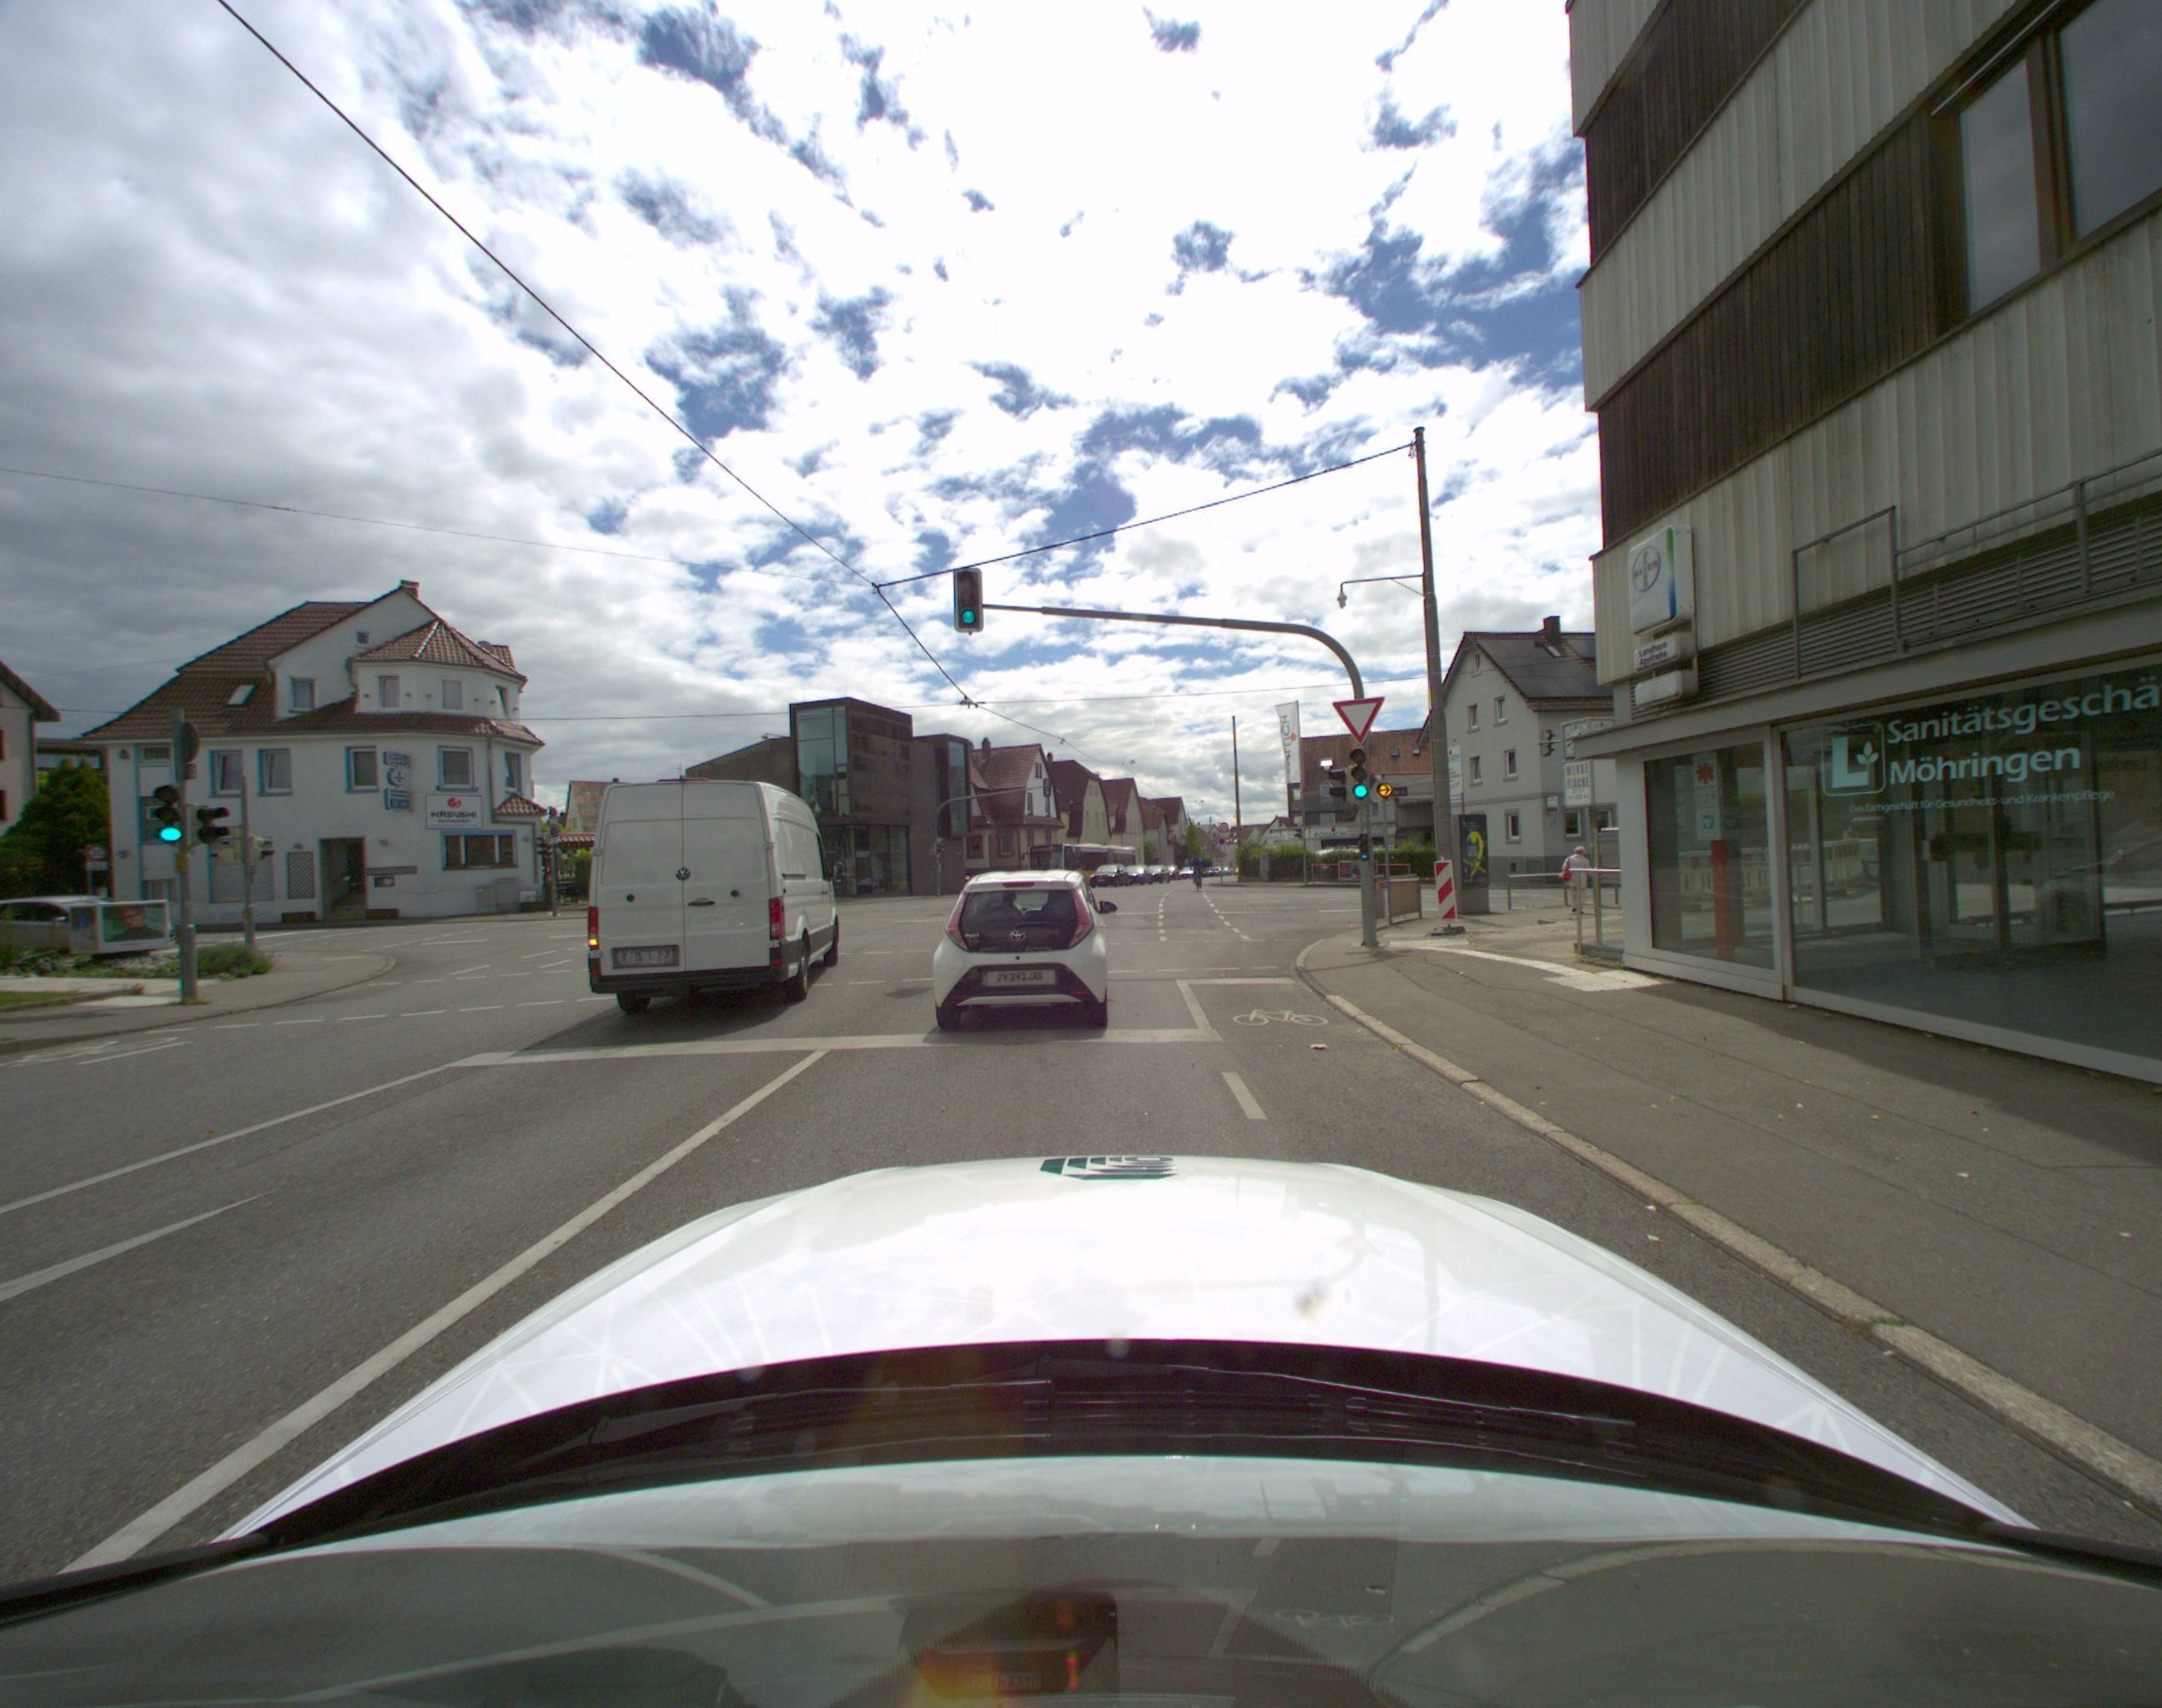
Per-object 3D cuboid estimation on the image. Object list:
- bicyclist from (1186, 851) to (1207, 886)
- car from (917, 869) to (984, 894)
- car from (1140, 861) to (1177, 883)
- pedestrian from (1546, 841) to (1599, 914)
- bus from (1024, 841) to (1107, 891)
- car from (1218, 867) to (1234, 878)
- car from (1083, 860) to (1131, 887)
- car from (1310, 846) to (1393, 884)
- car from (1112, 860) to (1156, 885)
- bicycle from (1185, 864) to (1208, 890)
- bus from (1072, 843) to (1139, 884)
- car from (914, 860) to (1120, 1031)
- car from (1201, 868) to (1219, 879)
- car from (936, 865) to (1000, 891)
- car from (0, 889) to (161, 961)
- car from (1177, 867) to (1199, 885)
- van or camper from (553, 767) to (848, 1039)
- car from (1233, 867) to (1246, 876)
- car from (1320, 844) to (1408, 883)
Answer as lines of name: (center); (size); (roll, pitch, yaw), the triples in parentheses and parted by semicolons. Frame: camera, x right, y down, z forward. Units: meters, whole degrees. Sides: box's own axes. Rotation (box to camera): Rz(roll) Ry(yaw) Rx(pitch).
bicyclist: (5.401, 0.665, 38.276); (0.837, 1.614, 1.084); (-2, 0, 2)
car: (-8.811, 1.829, 54.954); (3.957, 1.640, 2.008); (-1, -1, 15)
car: (6.162, 1.376, 64.643); (1.977, 1.640, 4.019); (-1, -1, 19)
pedestrian: (11.439, 0.554, 18.978); (0.827, 1.638, 0.878); (-2, -2, 18)
bus: (-0.829, 0.749, 55.394); (2.756, 3.060, 9.233); (-1, -1, 18)
car: (24.539, 3.137, 137.952); (1.977, 1.640, 4.019); (-1, -1, 19)
car: (1.716, 1.222, 52.572); (1.977, 1.640, 4.019); (-1, -1, 19)
car: (15.358, 0.596, 46.343); (3.982, 2.014, 1.995); (-1, -1, -7)
car: (3.791, 1.303, 57.675); (1.977, 1.640, 4.204); (-1, -1, 19)
bicycle: (5.407, 1.056, 38.182); (0.828, 1.164, 2.193); (-2, 0, 3)
bus: (2.087, 0.703, 64.343); (2.756, 2.915, 9.233); (-1, -1, 18)
car: (-0.489, 0.829, 8.989); (1.731, 1.460, 3.536); (-2, 0, 4)
car: (19.646, 2.935, 123.523); (1.977, 1.640, 4.019); (-1, -1, 19)
car: (-7.968, 1.721, 57.755); (3.957, 1.684, 2.008); (-2, -1, 15)
car: (-27.415, 1.849, 21.378); (3.981, 1.684, 1.996); (-2, -1, -5)
car: (12.591, 2.526, 95.362); (1.979, 2.014, 4.016); (-1, -1, 15)
van or camper: (-4.567, 0.500, 10.931); (2.108, 2.587, 5.624); (-3, 0, -10)
car: (30.945, 3.436, 158.915); (1.977, 1.640, 4.019); (-1, -1, 19)
car: (15.181, 0.525, 43.744); (3.983, 1.948, 1.995); (-1, -1, -7)
